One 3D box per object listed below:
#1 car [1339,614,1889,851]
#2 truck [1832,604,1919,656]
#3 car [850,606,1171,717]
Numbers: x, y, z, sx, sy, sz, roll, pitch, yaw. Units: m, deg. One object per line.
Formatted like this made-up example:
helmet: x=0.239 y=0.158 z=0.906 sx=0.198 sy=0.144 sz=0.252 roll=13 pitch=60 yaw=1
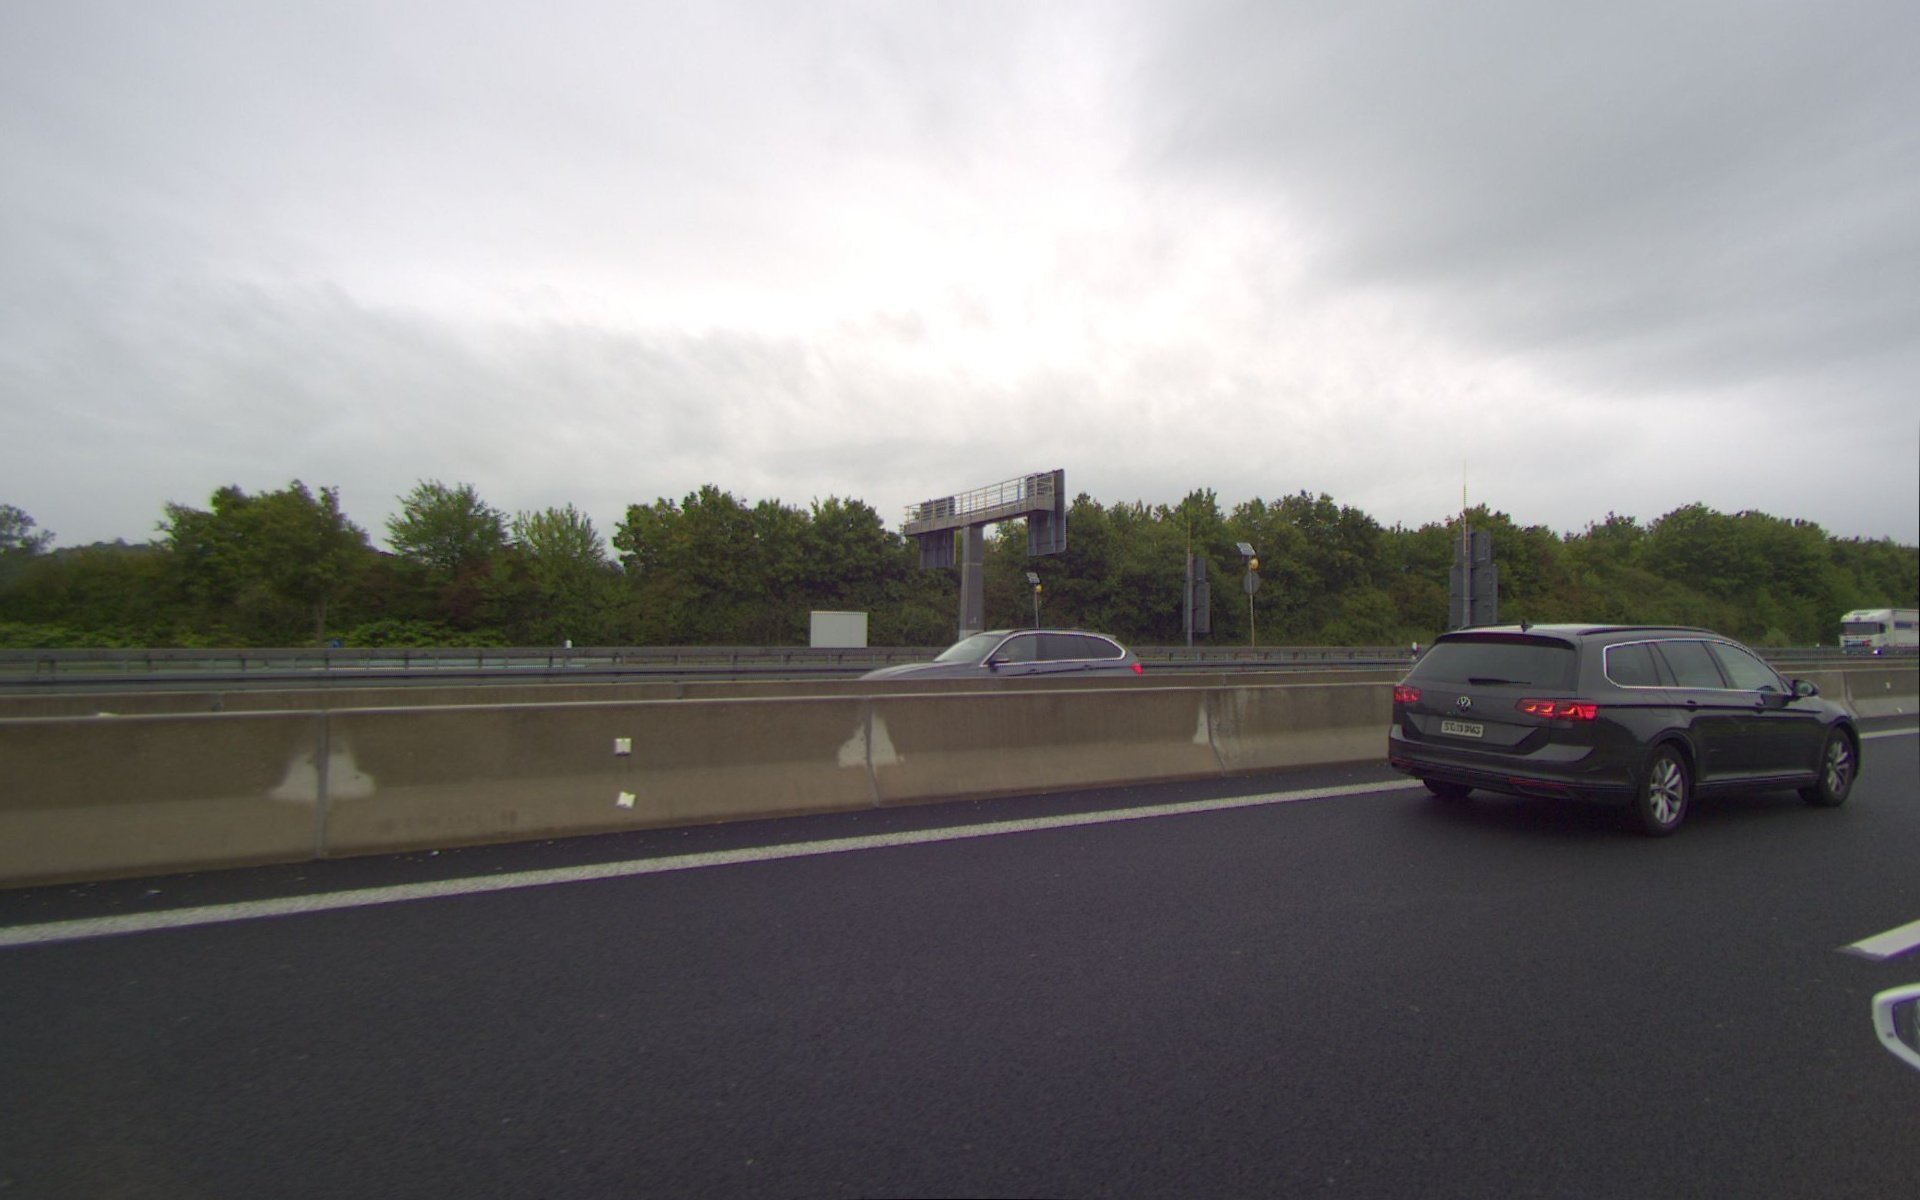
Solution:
car: x=5.512 y=0.914 z=8.320 sx=4.743 sy=1.478 sz=1.780 roll=2 pitch=0 yaw=-28
truck: x=75.699 y=2.451 z=80.658 sx=16.928 sy=3.859 sz=3.164 roll=1 pitch=-2 yaw=-30
car: x=0.774 y=0.853 z=14.656 sx=4.390 sy=1.410 sz=1.848 roll=1 pitch=-2 yaw=-29
